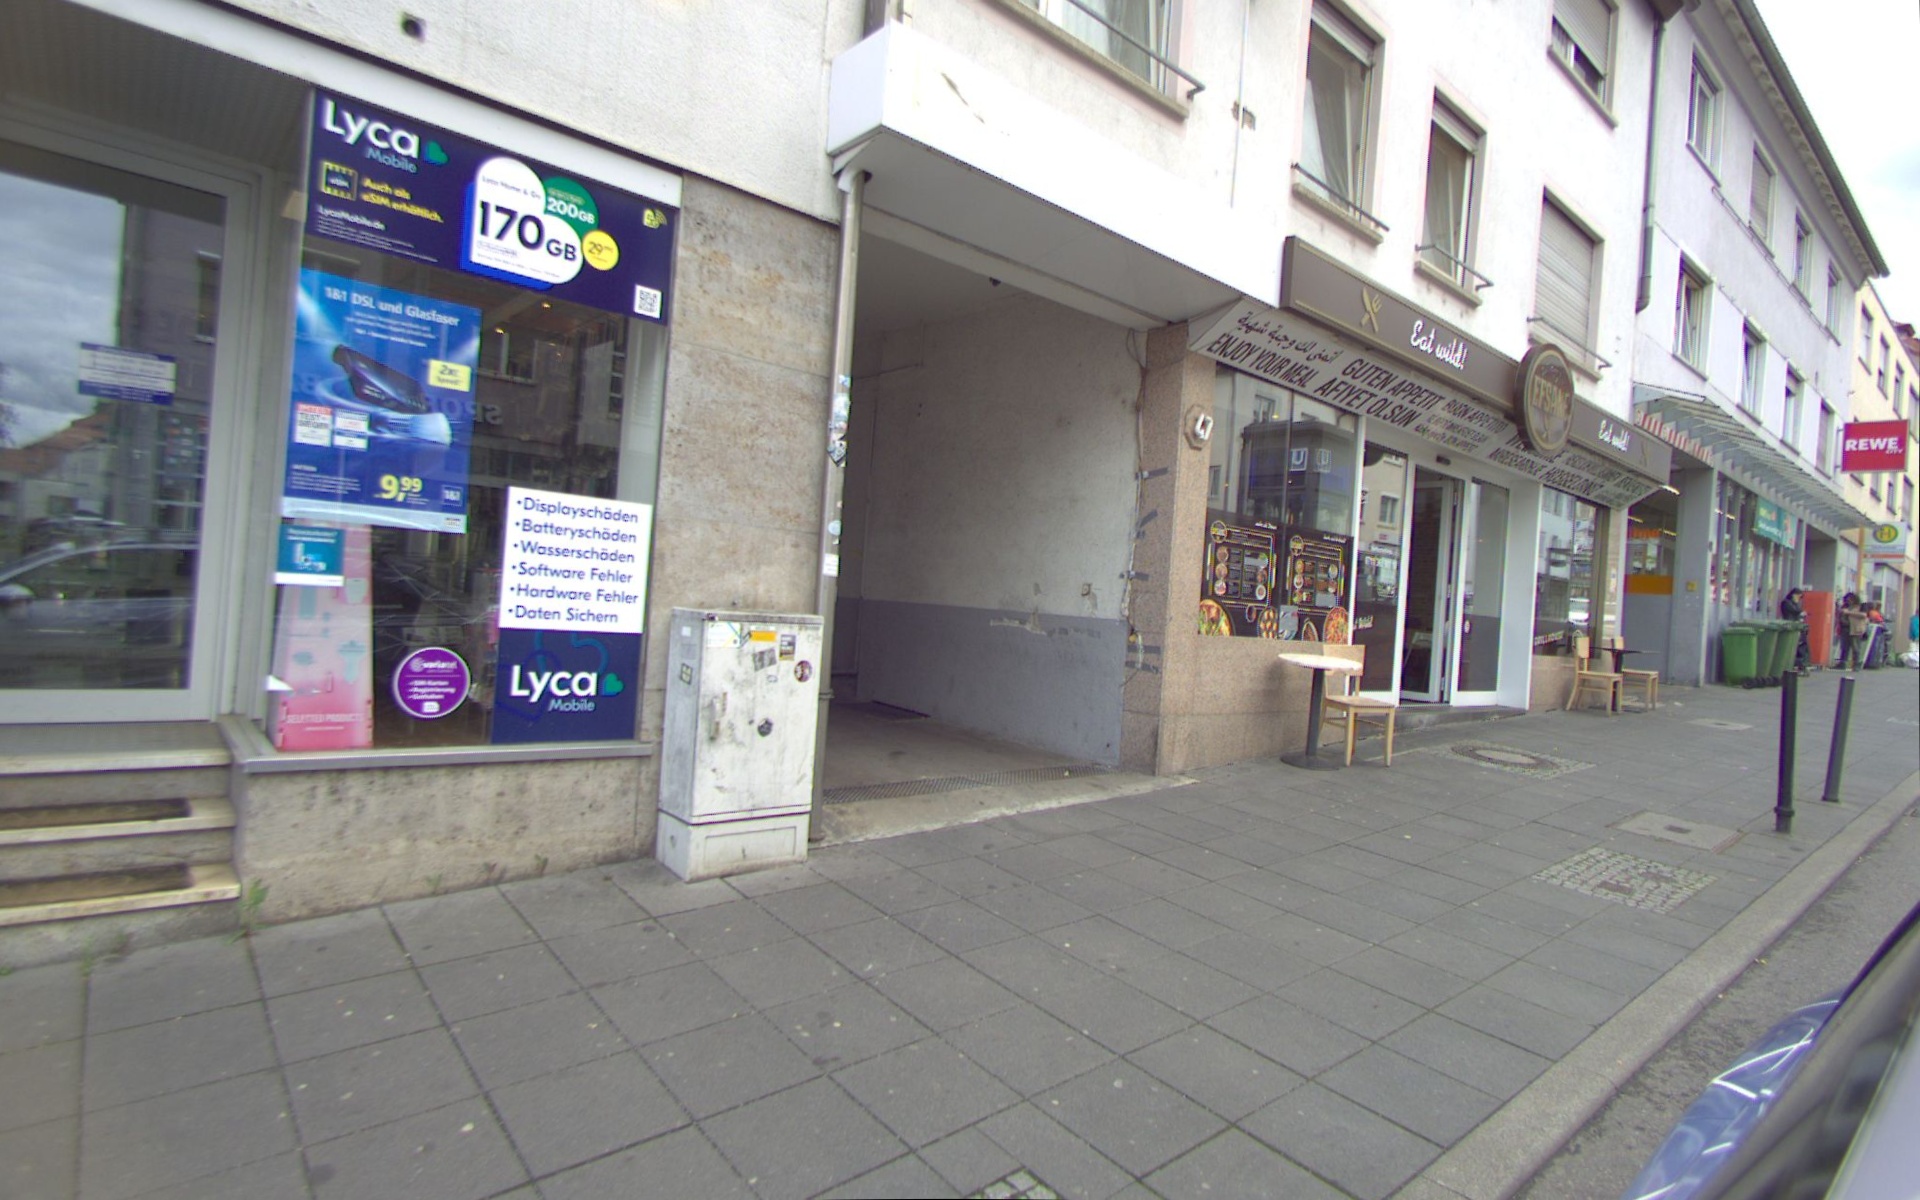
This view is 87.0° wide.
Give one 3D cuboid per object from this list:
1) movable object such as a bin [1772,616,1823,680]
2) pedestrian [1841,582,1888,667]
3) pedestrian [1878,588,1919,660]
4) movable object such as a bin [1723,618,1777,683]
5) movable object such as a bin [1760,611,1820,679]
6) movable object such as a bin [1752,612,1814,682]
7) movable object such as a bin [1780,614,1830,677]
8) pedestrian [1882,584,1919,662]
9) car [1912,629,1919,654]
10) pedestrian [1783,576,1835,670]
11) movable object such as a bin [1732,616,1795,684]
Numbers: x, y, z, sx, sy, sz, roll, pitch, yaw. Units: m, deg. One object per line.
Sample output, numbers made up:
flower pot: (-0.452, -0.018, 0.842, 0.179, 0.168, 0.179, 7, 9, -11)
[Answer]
movable object such as a bin: (14.641, 0.824, 17.695, 0.564, 1.073, 0.569, 1, 1, -40)
pedestrian: (19.374, 0.514, 21.673, 0.626, 1.746, 0.597, 5, 3, 44)
pedestrian: (22.963, 0.576, 24.709, 0.599, 1.747, 0.623, 0, 0, 20)
movable object such as a bin: (12.586, 0.791, 16.125, 0.489, 0.968, 0.568, 1, 1, -40)
movable object such as a bin: (14.171, 0.757, 17.272, 0.648, 1.094, 0.652, 1, 1, -40)
movable object such as a bin: (13.655, 0.759, 16.795, 0.661, 1.094, 0.652, 1, 1, -40)
movable object such as a bin: (15.083, 0.796, 18.061, 0.549, 1.070, 0.559, 1, 1, -40)
pedestrian: (22.539, 0.538, 24.122, 0.618, 1.845, 0.604, 0, 0, 15)
car: (63.682, 2.747, 64.224, 4.608, 1.599, 1.752, 2, 1, 42)
pedestrian: (16.149, 0.421, 19.253, 0.621, 1.747, 0.601, 0, 0, 26)
movable object such as a bin: (13.063, 0.801, 16.455, 0.550, 1.043, 0.670, 1, 1, -40)
